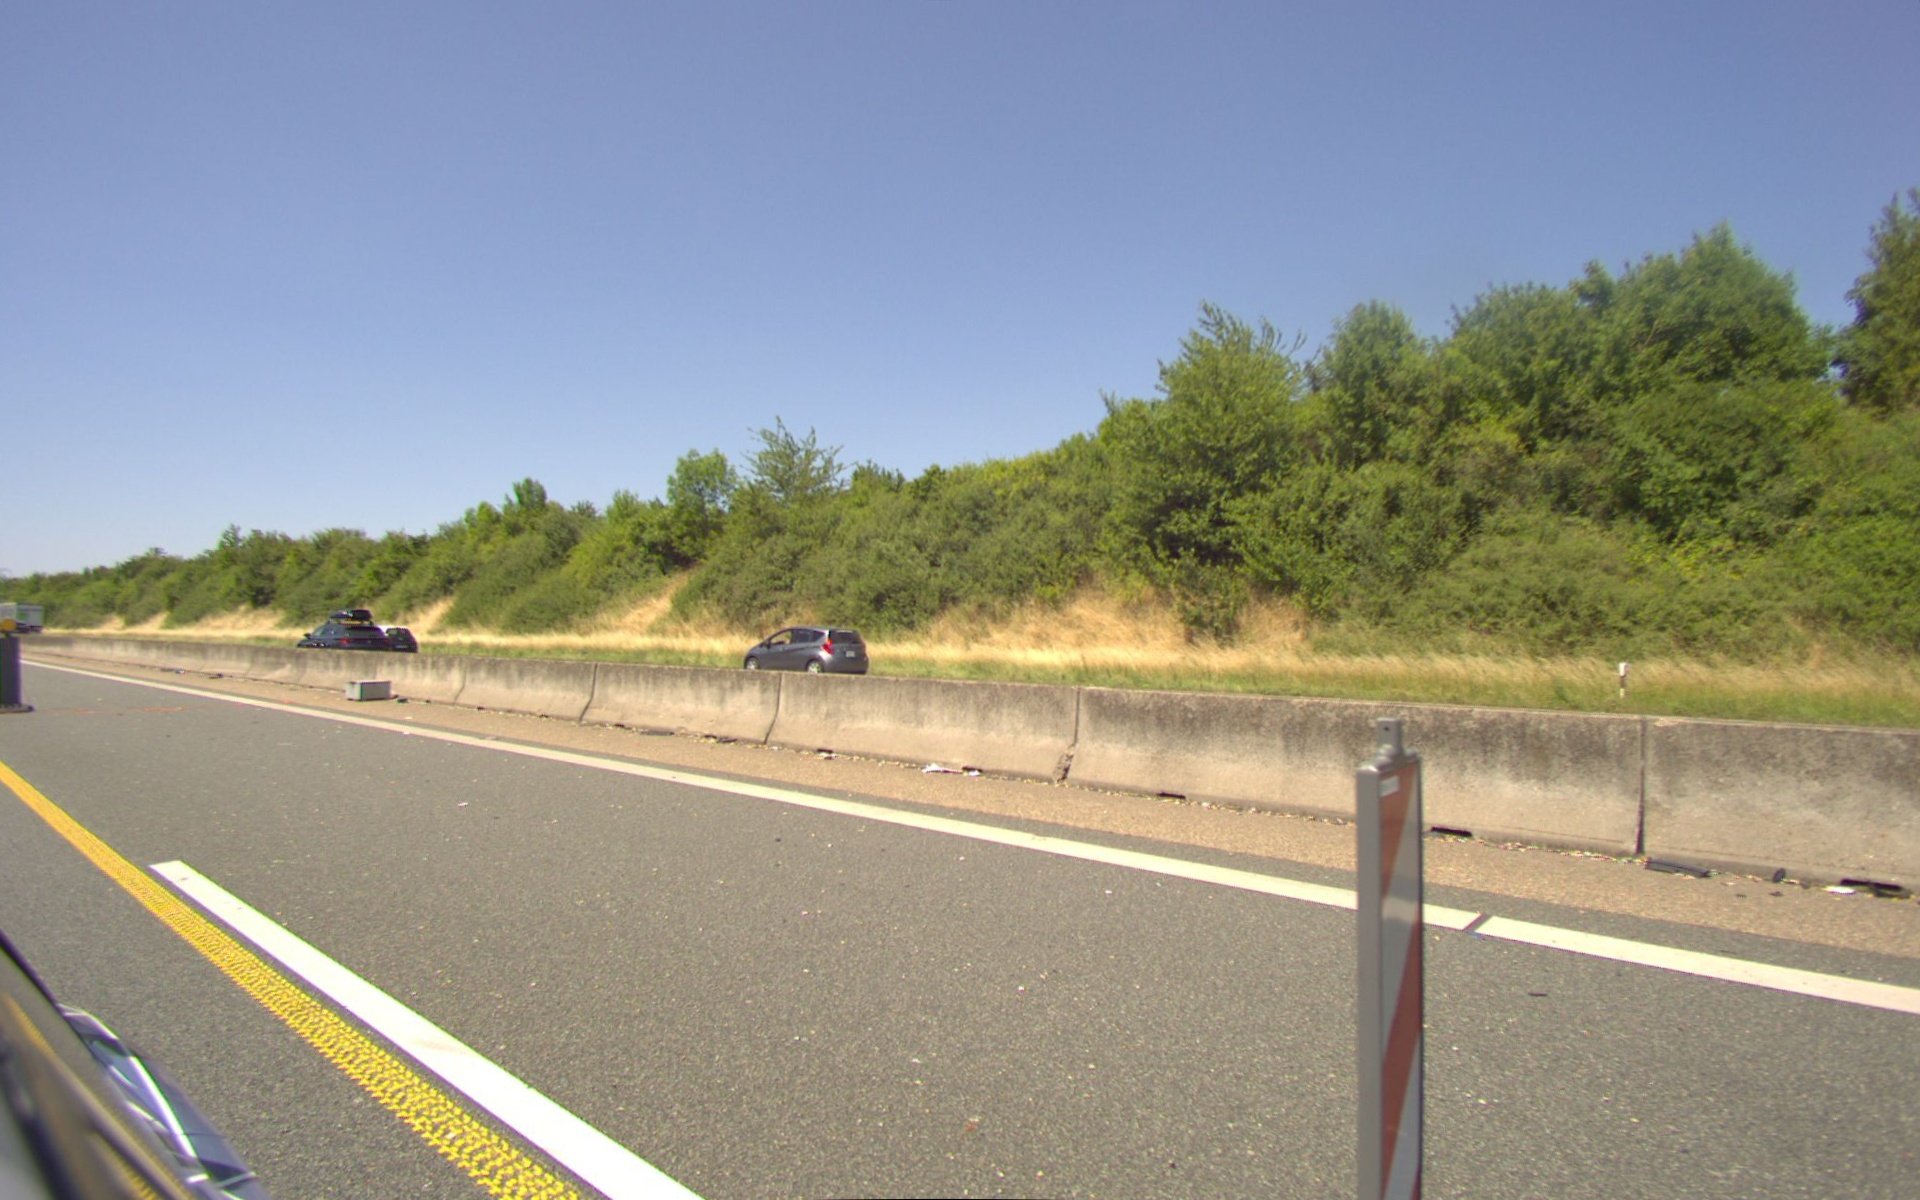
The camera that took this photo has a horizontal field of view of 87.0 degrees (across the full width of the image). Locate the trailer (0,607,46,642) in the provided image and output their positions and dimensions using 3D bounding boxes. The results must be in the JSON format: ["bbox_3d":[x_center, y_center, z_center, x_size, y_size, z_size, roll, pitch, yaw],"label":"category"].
[{"bbox_3d":[-115.556,3.066,124.342,13.627,4.093,2.923,-1,-4,40],"label":"trailer"}]

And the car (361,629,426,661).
[{"bbox_3d":[-27.103,2.121,48.405,3.777,1.475,1.557,-1,-2,42],"label":"car"}]

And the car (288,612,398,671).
[{"bbox_3d":[-20.556,1.351,33.653,4.618,1.832,1.724,-1,-2,40],"label":"car"}]

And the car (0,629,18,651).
[{"bbox_3d":[-72.054,3.006,75.651,4.580,1.612,1.972,-1,-2,41],"label":"car"}]

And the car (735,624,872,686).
[{"bbox_3d":[-4.325,1.453,27.657,3.997,1.560,1.484,-1,-2,41],"label":"car"}]
